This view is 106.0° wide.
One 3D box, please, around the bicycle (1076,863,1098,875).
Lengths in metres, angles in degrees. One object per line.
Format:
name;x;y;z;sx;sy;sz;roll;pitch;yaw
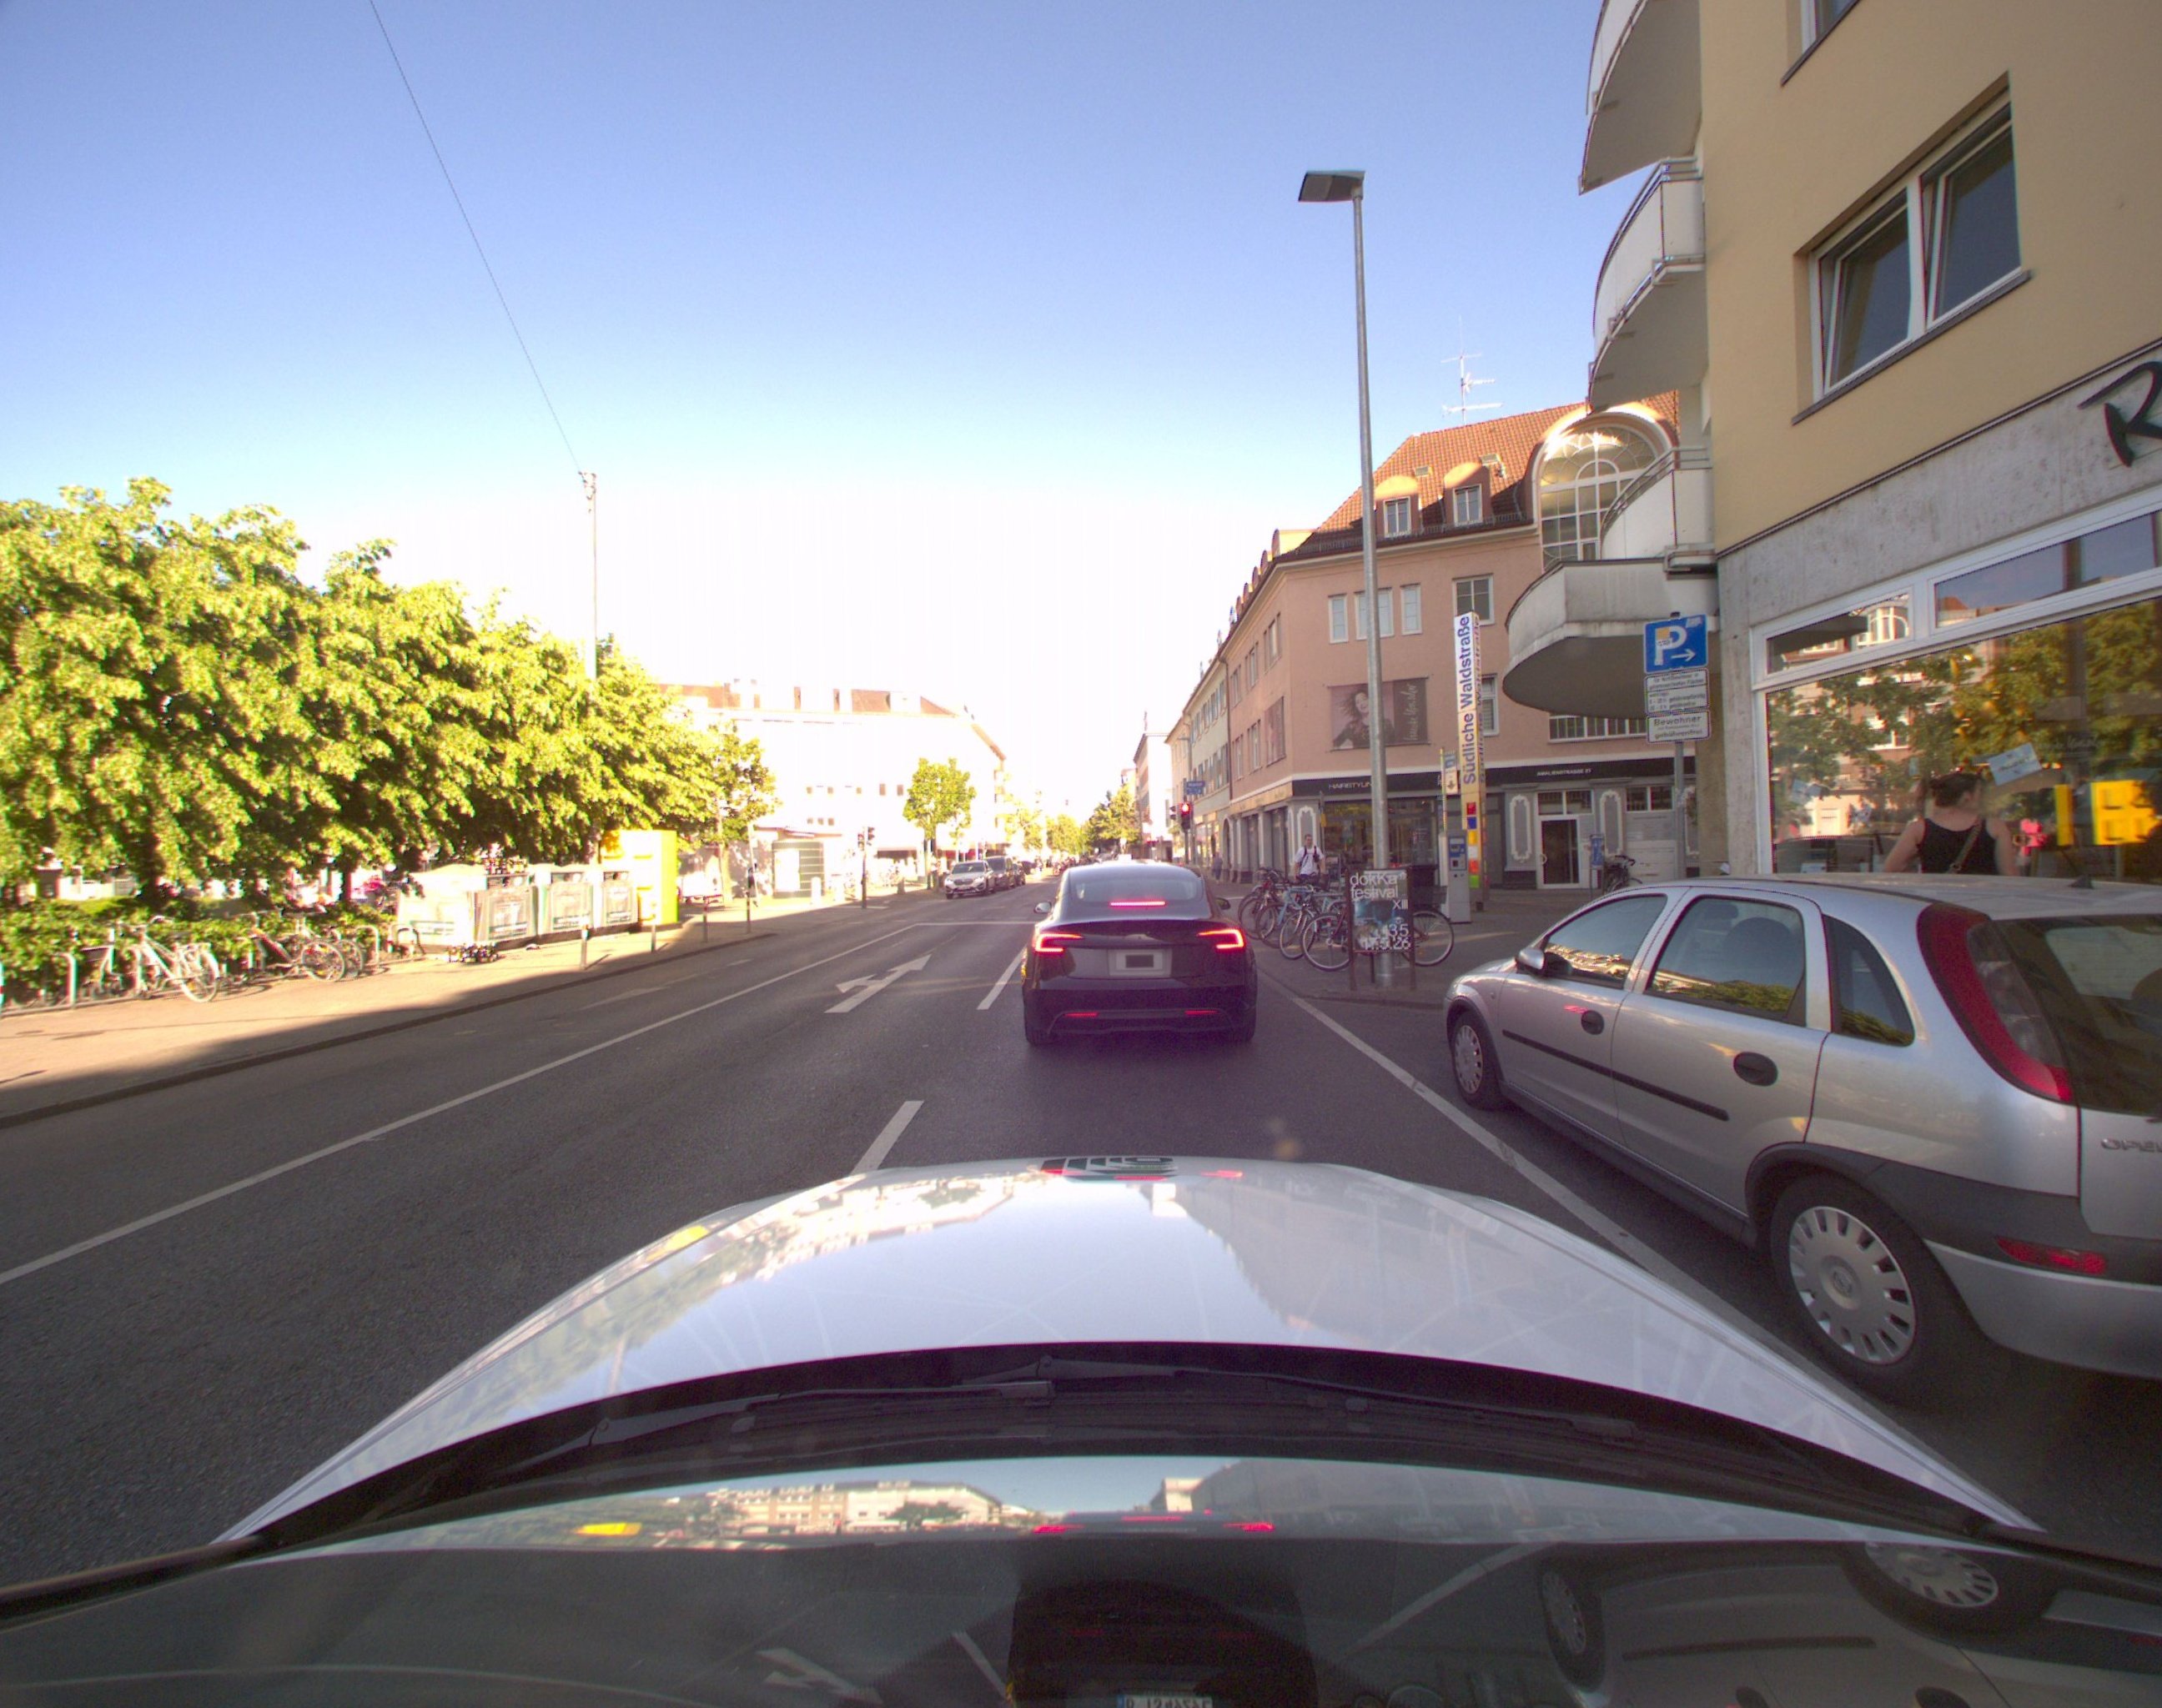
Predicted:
bicycle;0.503;1.262;68.667;1.787;1.007;0.469;0;-1;-15

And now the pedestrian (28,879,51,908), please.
pedestrian;-77.798;2.933;60.814;0.891;2.171;0.882;-1;-1;26

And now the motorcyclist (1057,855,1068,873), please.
motorcyclist;-1.597;0.873;69.575;0.723;1.528;0.512;-1;0;-24

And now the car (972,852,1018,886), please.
car;-4.450;0.754;42.798;1.780;1.646;4.404;-1;0;2

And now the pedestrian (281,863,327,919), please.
pedestrian;-28.912;1.362;30.318;0.890;2.013;0.893;-1;0;15

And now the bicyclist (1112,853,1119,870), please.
bicyclist;3.075;0.630;72.590;0.525;1.503;0.473;0;-1;-22

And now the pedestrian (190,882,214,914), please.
pedestrian;-48.682;2.432;45.098;0.842;1.717;0.761;-2;-1;35

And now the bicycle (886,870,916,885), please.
bicycle;-12.182;1.579;55.103;1.857;0.934;0.606;-1;0;0

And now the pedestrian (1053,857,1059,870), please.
pedestrian;-2.781;1.098;92.284;0.524;1.422;0.475;0;-1;-28

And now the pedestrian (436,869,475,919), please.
pedestrian;-21.638;1.380;28.198;0.754;1.698;0.793;-1;0;25

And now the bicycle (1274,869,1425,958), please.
bicycle;3.650;0.809;11.161;1.864;1.087;0.415;-3;-1;5

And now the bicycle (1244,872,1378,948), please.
bicycle;3.494;0.854;12.485;1.864;1.038;0.534;-3;-1;5

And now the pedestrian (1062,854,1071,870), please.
pedestrian;-1.620;0.894;92.051;0.676;1.789;0.705;0;-1;-34

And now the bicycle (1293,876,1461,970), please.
bicycle;3.606;0.841;10.012;1.862;1.038;0.354;-3;-1;8

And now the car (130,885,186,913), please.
car;-50.616;2.452;44.641;3.526;1.386;1.703;-1;0;36

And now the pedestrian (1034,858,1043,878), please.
pedestrian;-3.384;1.087;64.321;0.623;1.538;0.511;0;-1;-17

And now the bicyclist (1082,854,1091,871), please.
bicyclist;0.485;0.690;68.665;0.670;1.395;0.460;0;-1;-14

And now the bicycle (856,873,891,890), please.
bicycle;-12.176;1.615;47.788;1.857;0.934;0.606;0;-1;0

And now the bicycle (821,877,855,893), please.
bicycle;-12.835;1.633;43.068;1.640;0.792;0.606;0;-1;-3

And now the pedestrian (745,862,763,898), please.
pedestrian;-15.923;1.266;39.647;0.472;1.716;0.713;-1;-1;10

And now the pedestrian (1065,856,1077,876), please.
pedestrian;-0.793;0.969;66.693;0.756;1.631;0.951;0;-1;-16

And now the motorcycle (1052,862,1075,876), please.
motorcycle;-1.505;1.252;69.612;1.936;1.110;0.515;-1;0;-25

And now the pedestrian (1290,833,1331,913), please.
pedestrian;5.180;0.427;18.386;0.747;1.765;0.838;0;-1;6

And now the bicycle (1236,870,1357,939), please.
bicycle;3.583;0.843;13.658;1.863;1.038;0.548;-3;-1;7

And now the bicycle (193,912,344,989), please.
bicycle;-11.564;1.353;11.597;1.913;1.003;0.518;-1;-1;11

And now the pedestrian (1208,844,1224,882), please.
pedestrian;6.271;0.426;37.831;0.702;1.742;0.541;-1;0;8

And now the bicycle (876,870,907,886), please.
bicycle;-12.262;1.560;52.655;1.857;0.934;0.606;-1;0;0

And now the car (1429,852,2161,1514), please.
car;2.954;0.725;3.516;1.540;1.390;3.479;-1;1;3

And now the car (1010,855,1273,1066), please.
car;0.488;0.764;7.717;1.815;1.442;4.001;-1;-1;2

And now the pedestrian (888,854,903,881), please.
pedestrian;-14.353;1.026;63.005;1.060;2.014;1.049;0;-1;-18

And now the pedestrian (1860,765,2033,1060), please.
pedestrian;5.327;0.332;5.057;0.651;1.665;0.651;-2;-1;42

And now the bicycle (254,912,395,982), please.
bicycle;-11.319;1.374;12.189;1.888;0.955;0.518;-1;-1;11

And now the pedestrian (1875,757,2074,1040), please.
pedestrian;6.048;0.282;5.561;0.733;1.784;0.571;-1;0;28

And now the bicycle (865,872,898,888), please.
bicycle;-12.300;1.607;50.266;1.857;0.934;0.606;0;-1;0

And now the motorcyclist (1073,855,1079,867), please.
motorcyclist;-0.547;0.783;85.556;0.493;1.253;0.351;0;-1;-36

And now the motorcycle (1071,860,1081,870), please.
motorcycle;-0.508;1.153;85.576;0.985;1.086;0.352;0;-1;-35

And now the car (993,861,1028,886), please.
car;-4.309;1.169;50.148;1.709;1.446;3.846;0;-1;2

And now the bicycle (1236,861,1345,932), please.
bicycle;3.779;0.762;14.775;1.818;1.169;0.507;-3;-1;7

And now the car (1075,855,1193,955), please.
car;0.796;0.751;13.897;1.712;1.425;3.757;-1;0;0

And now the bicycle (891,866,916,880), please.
bicycle;-17.126;1.817;78.567;2.373;1.296;0.509;0;-1;-25

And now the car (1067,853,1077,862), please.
car;-2.118;0.820;187.611;1.986;2.013;4.002;-1;0;2

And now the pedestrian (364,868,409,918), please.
pedestrian;-28.630;1.587;33.565;1.145;2.014;1.040;-1;-1;26

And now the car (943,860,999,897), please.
car;-4.862;1.048;36.467;1.782;1.460;3.759;-4;-1;2

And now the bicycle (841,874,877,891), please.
bicycle;-12.440;1.575;45.638;1.857;0.934;0.606;0;-1;0

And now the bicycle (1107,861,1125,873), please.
bicycle;3.085;1.157;72.587;1.562;1.012;0.480;0;-1;-22

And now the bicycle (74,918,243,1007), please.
bicycle;-11.622;1.342;10.266;1.919;1.015;0.518;-1;-1;12
